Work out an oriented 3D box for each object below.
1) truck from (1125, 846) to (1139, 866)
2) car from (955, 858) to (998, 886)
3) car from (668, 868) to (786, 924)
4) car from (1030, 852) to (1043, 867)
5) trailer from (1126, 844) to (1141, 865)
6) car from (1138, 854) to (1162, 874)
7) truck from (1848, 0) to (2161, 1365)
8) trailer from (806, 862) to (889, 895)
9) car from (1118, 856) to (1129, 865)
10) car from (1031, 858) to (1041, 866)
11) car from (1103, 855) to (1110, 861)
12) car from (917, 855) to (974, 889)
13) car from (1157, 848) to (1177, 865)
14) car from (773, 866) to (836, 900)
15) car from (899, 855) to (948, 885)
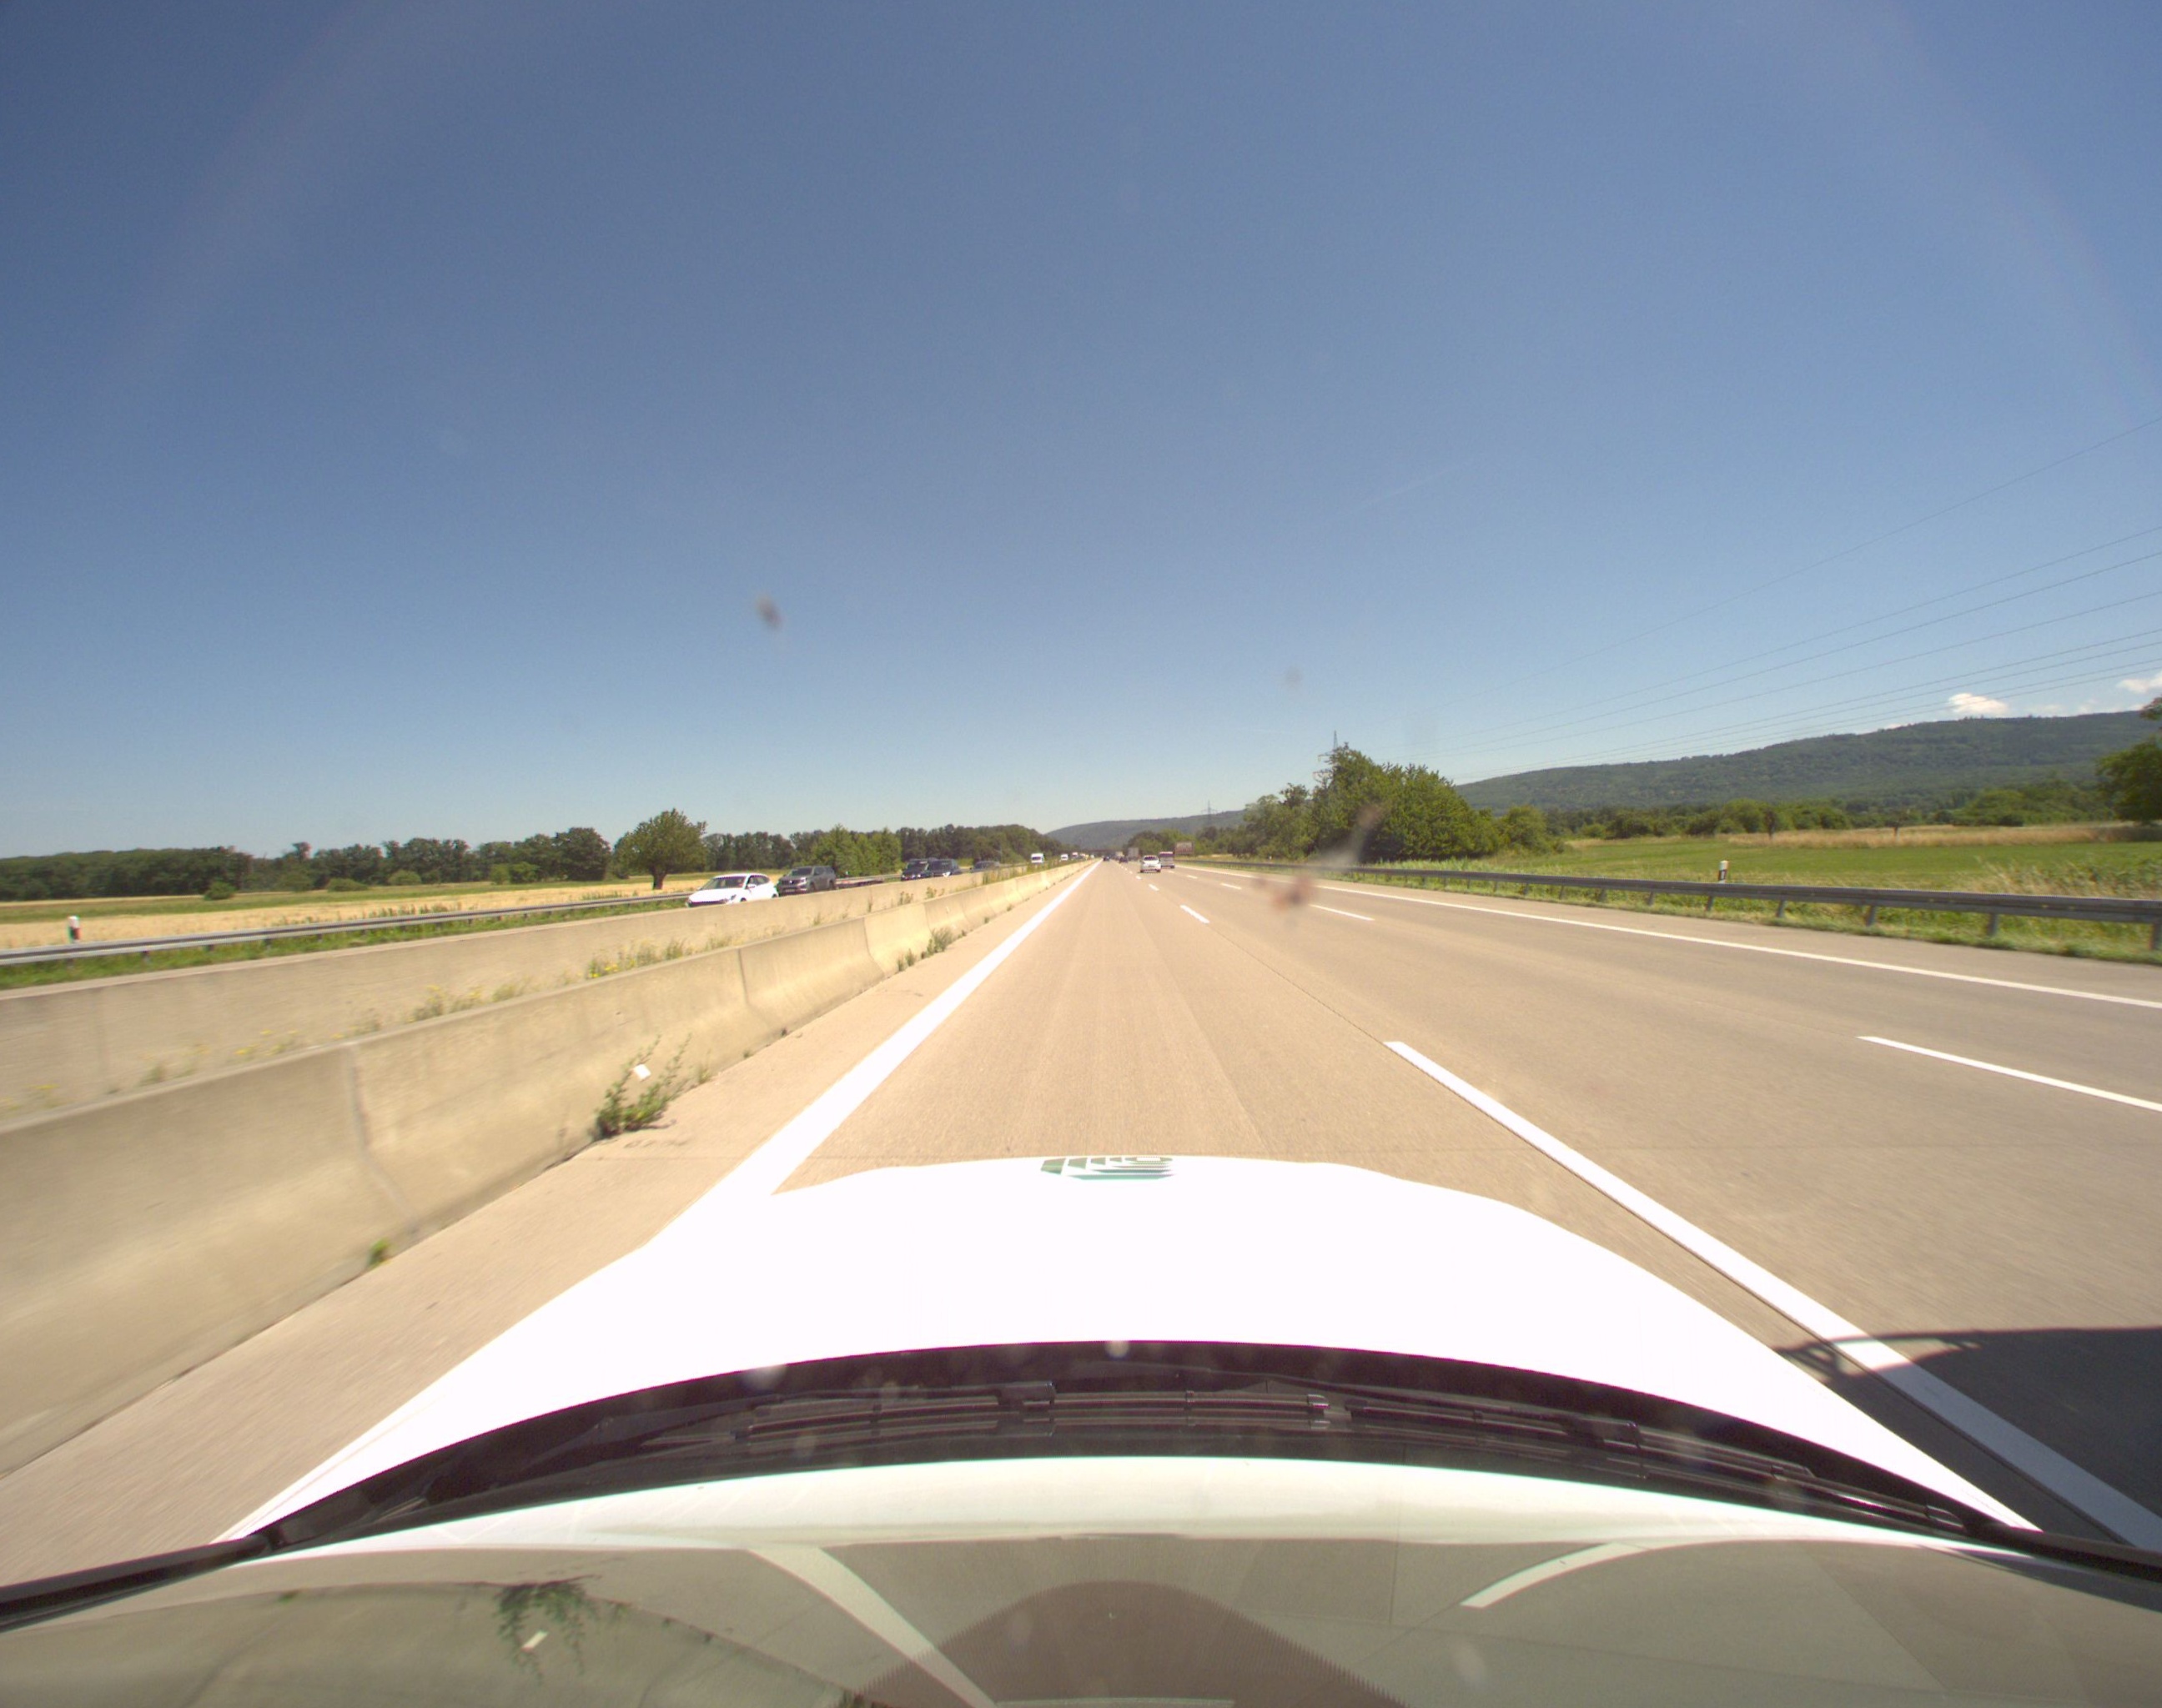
[{"bbox_3d":[15.345,0.561,245.527,3.709,5.811,7.053,0,0,0],"label":"truck"},{"bbox_3d":[-6.607,1.108,51.869,1.985,1.717,4.003,-1,0,3],"label":"car"},{"bbox_3d":[-11.947,1.356,27.861,1.987,1.717,4.613,-1,-1,0],"label":"car"},{"bbox_3d":[-8.233,0.970,150.890,2.257,2.788,7.067,0,0,-1],"label":"car"},{"bbox_3d":[15.277,0.170,238.923,3.709,5.811,12.161,0,0,0],"label":"trailer"},{"bbox_3d":[6.181,0.876,73.098,1.813,1.661,4.001,-1,0,1],"label":"car"},{"bbox_3d":[4.215,-0.546,0.635,2.572,3.877,4.985,0,0,1],"label":"truck"},{"bbox_3d":[-15.268,1.533,54.262,2.229,1.745,10.547,-3,0,1],"label":"trailer"},{"bbox_3d":[8.965,1.331,171.850,1.987,1.849,4.000,1,0,0],"label":"car"},{"bbox_3d":[-9.777,1.824,176.565,1.747,1.684,4.843,-1,0,1],"label":"car"},{"bbox_3d":[7.410,1.164,233.584,1.922,1.794,4.001,-1,0,1],"label":"car"},{"bbox_3d":[-7.288,0.931,44.170,1.985,1.717,5.033,-1,0,3],"label":"car"},{"bbox_3d":[9.938,0.294,94.043,1.986,1.849,4.001,0,0,1],"label":"car"},{"bbox_3d":[-15.403,1.598,45.629,1.987,1.717,4.301,-1,0,0],"label":"car"},{"bbox_3d":[-10.498,1.049,54.715,1.985,1.878,5.188,-1,0,3],"label":"car"}]
